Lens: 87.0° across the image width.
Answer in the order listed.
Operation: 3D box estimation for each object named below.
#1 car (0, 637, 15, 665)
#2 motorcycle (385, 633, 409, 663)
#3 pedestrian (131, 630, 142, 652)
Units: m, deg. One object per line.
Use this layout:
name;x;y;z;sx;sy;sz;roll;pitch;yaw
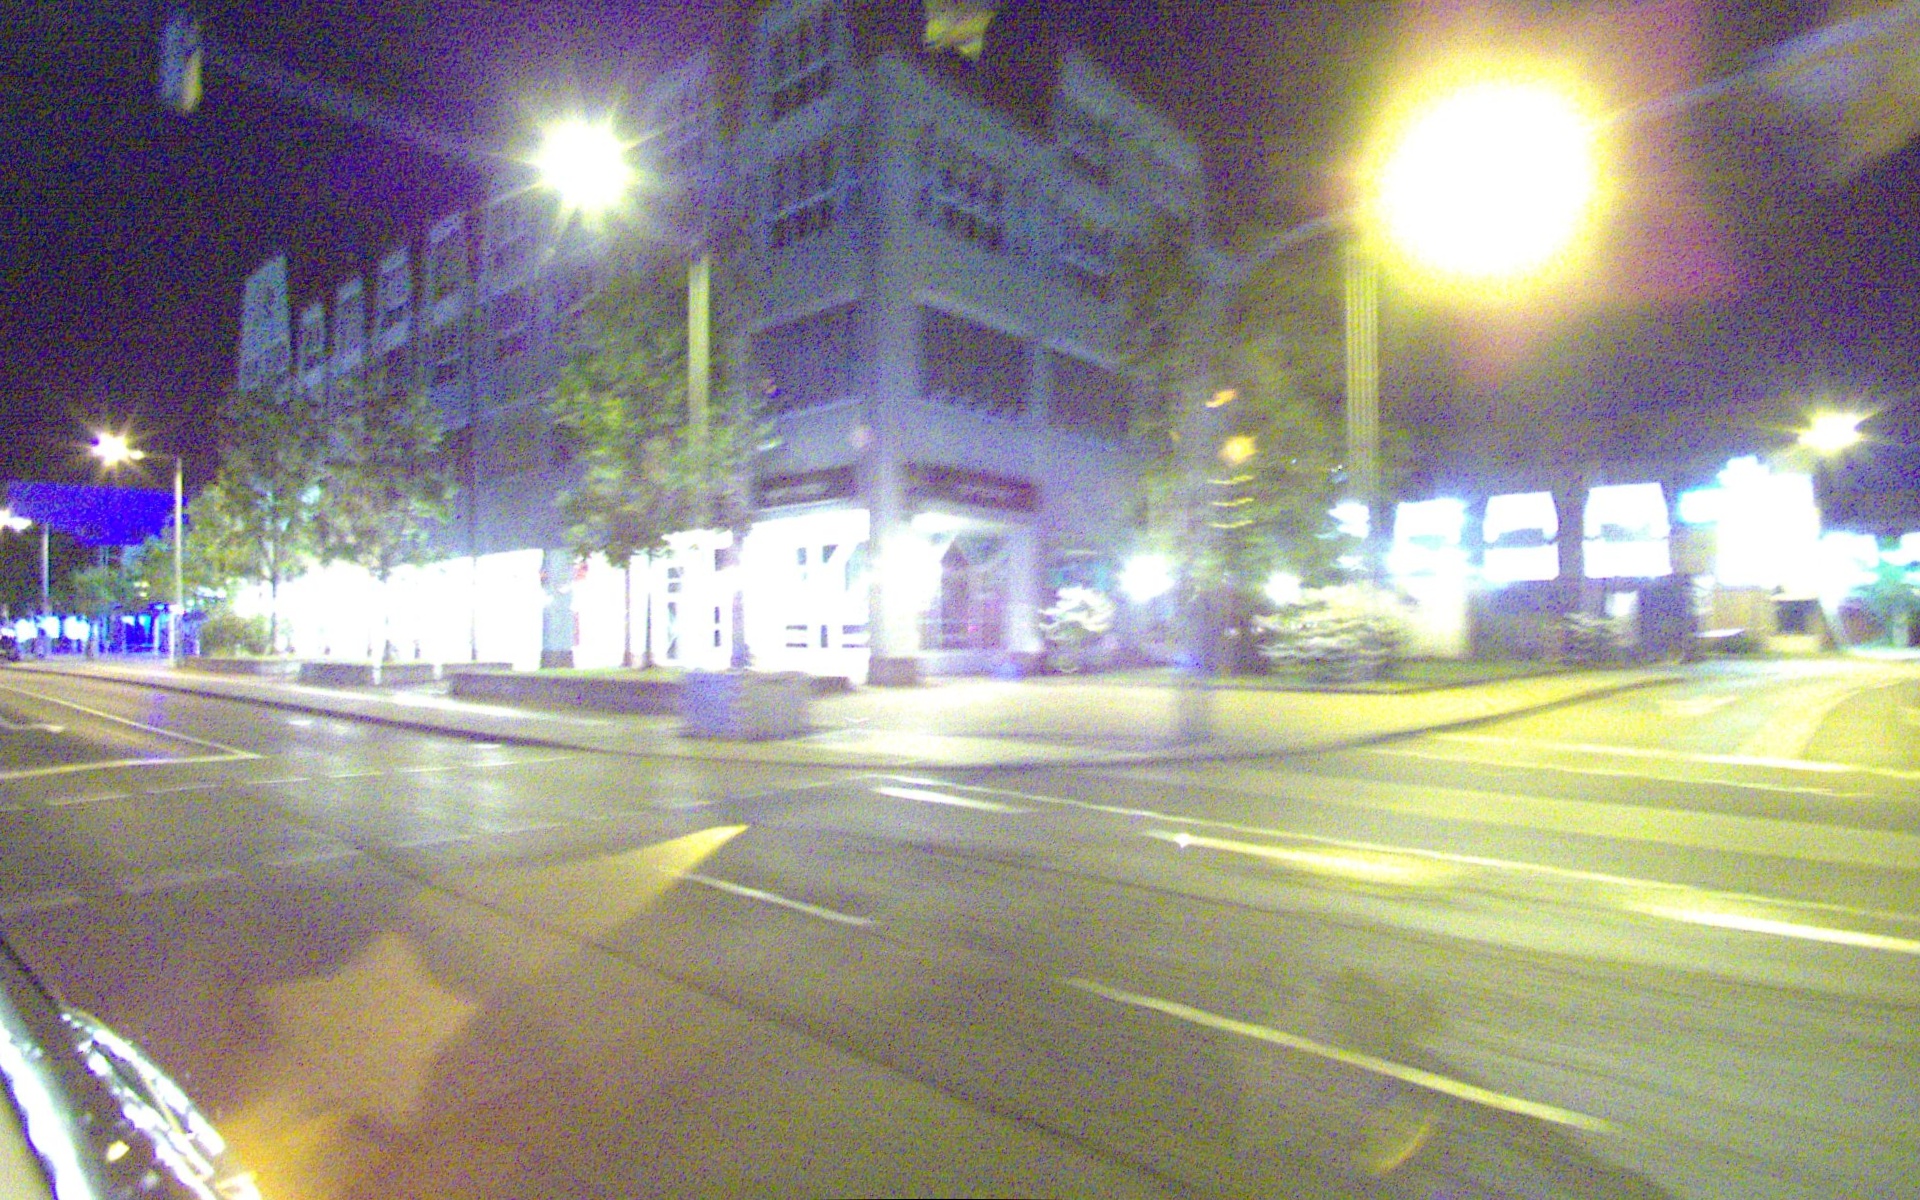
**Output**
car;-51.297;2.659;53.363;4.494;1.424;1.723;-2;-3;42
motorcycle;-19.705;1.682;35.430;0.472;1.028;1.678;1;-2;-38
pedestrian;-62.352;3.093;76.625;0.632;1.649;0.473;-2;-3;42
